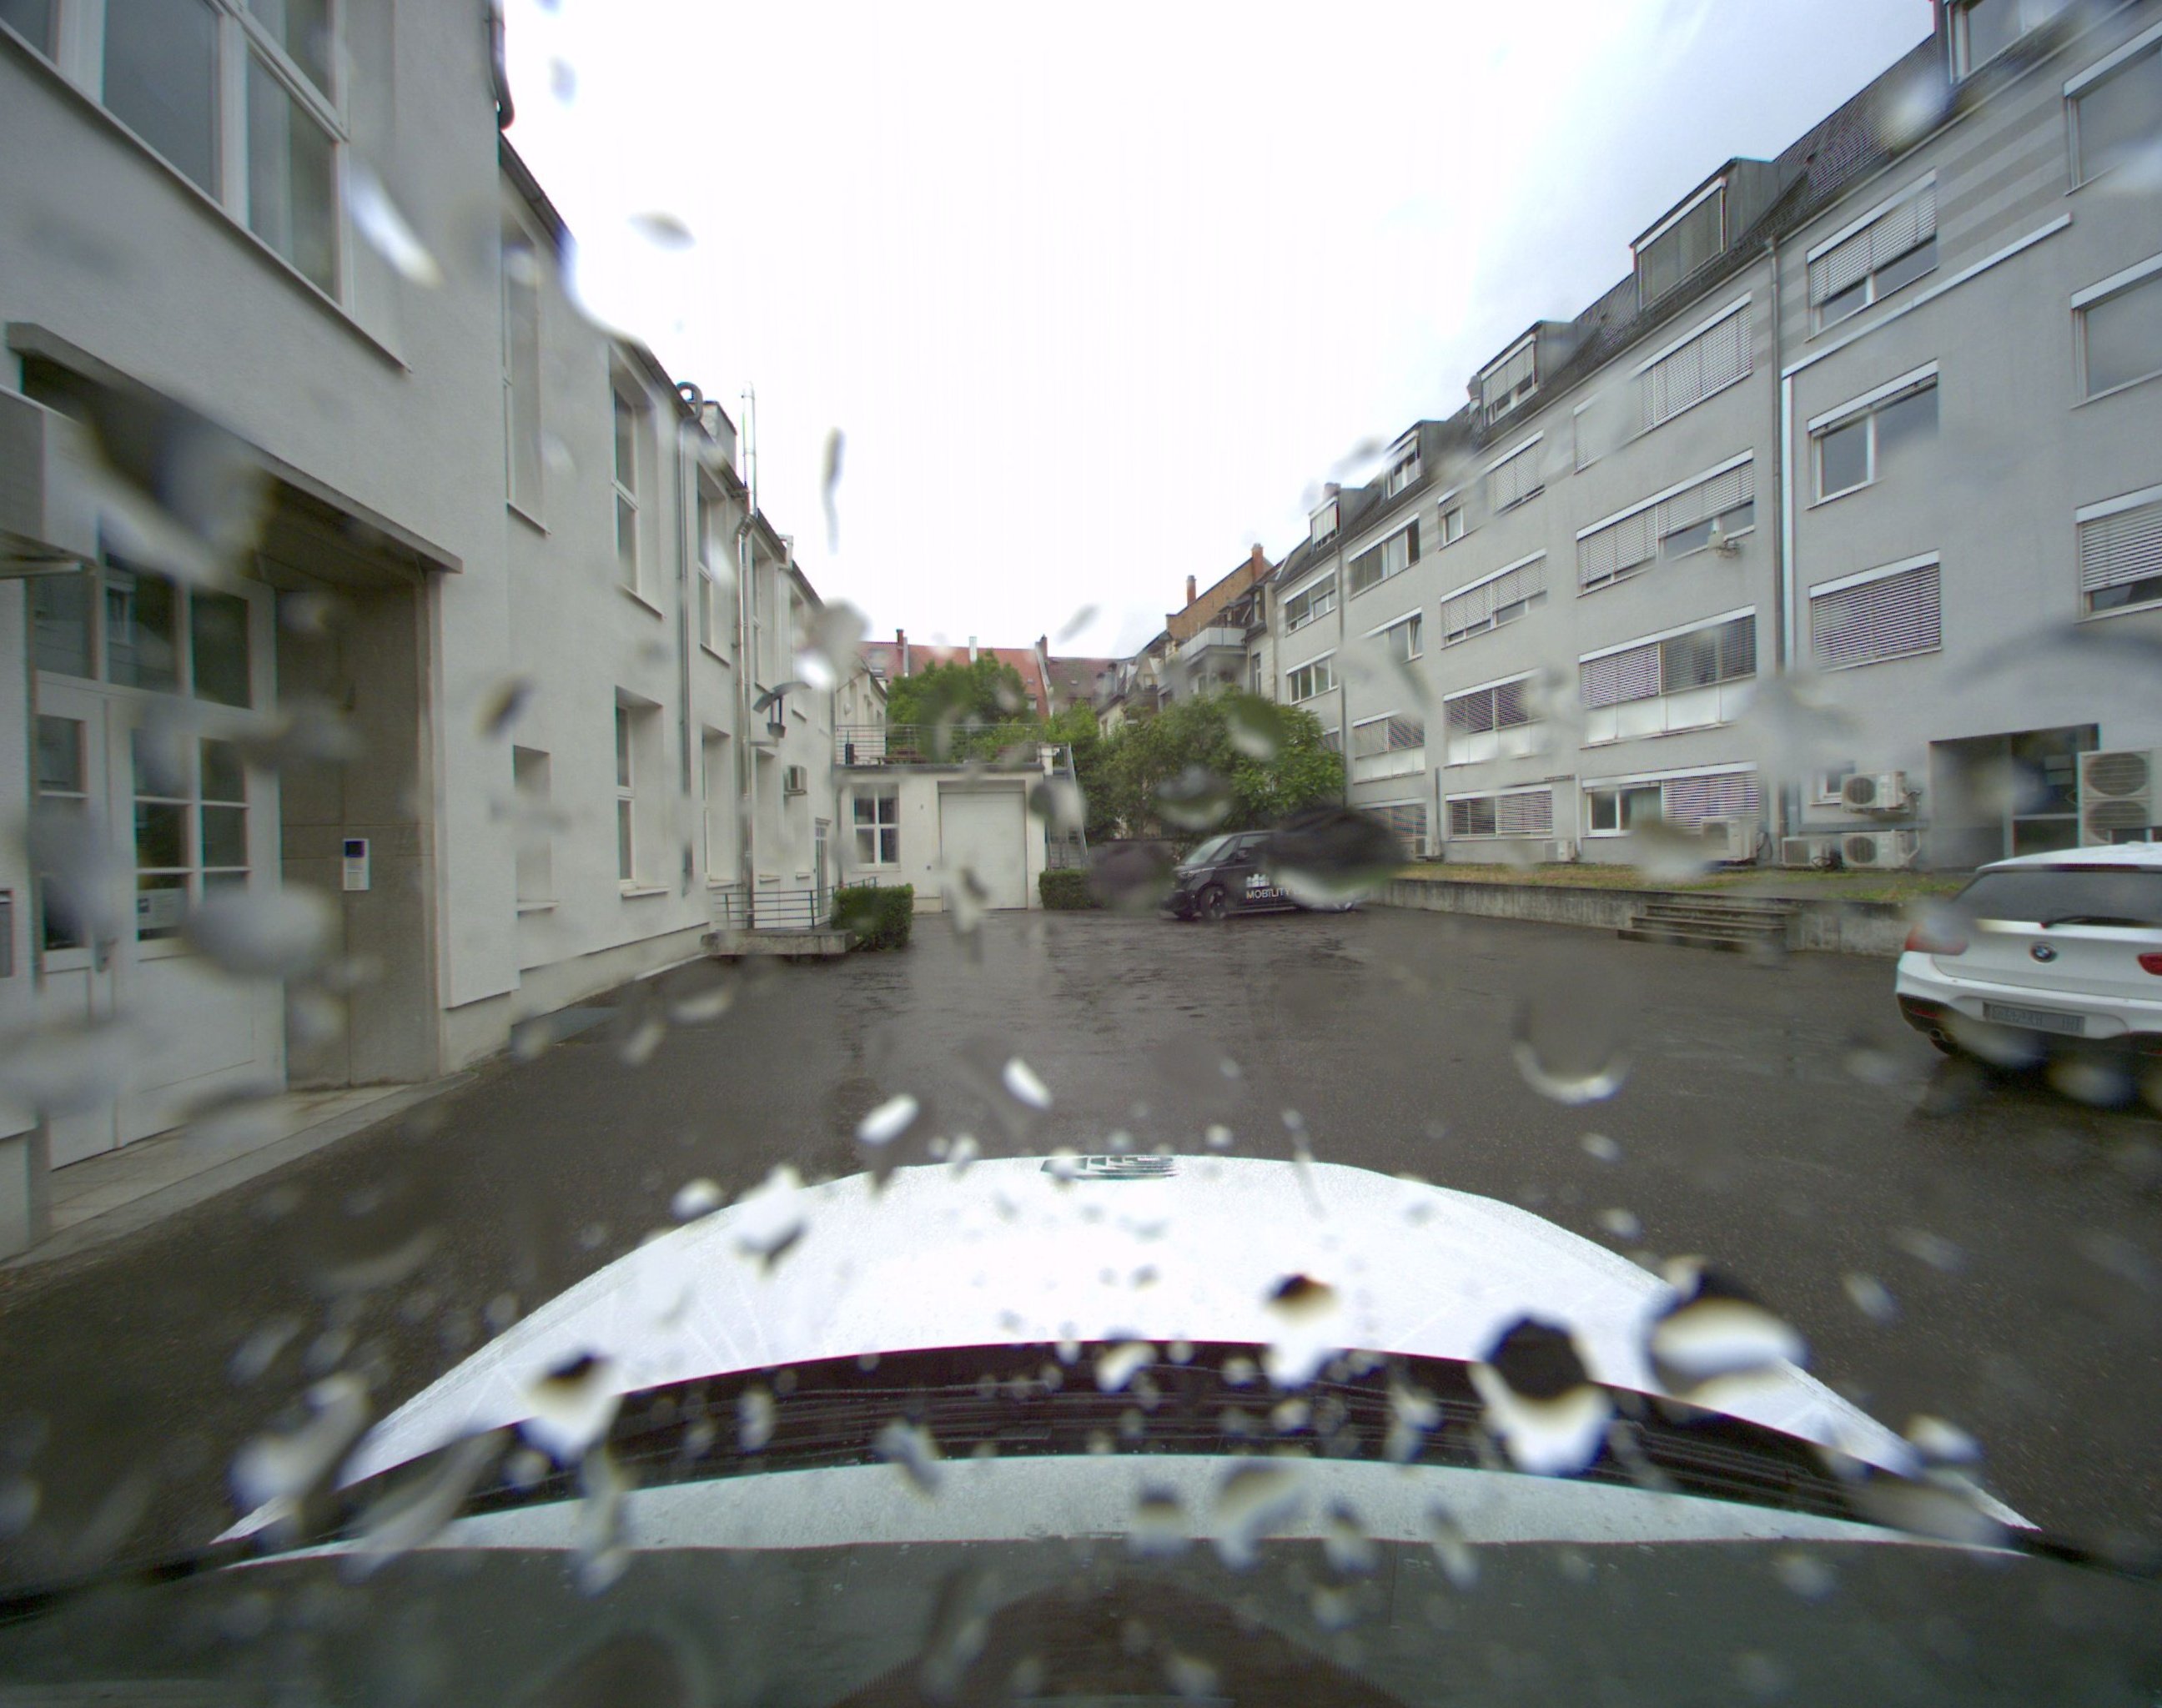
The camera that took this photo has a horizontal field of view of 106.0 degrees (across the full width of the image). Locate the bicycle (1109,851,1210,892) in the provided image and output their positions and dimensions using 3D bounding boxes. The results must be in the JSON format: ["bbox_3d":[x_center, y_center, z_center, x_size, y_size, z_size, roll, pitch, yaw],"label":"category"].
[{"bbox_3d":[2.584,0.566,26.839,3.214,1.242,0.629,-2,-1,-10],"label":"bicycle"}]

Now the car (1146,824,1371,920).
[{"bbox_3d":[3.963,0.370,18.410,4.515,1.897,2.036,-2,-1,-15],"label":"car"}]

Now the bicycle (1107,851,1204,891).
[{"bbox_3d":[2.519,0.555,27.535,3.214,1.242,0.629,-2,-1,-10],"label":"bicycle"}]

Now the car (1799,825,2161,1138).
[{"bbox_3d":[7.176,0.573,5.023,4.209,1.489,1.993,-1,1,-11],"label":"car"}]

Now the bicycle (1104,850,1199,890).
[{"bbox_3d":[2.448,0.544,28.203,3.214,1.242,0.629,-2,-1,-10],"label":"bicycle"}]

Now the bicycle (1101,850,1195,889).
[{"bbox_3d":[2.373,0.534,28.850,3.214,1.242,0.629,-2,-1,-10],"label":"bicycle"}]
